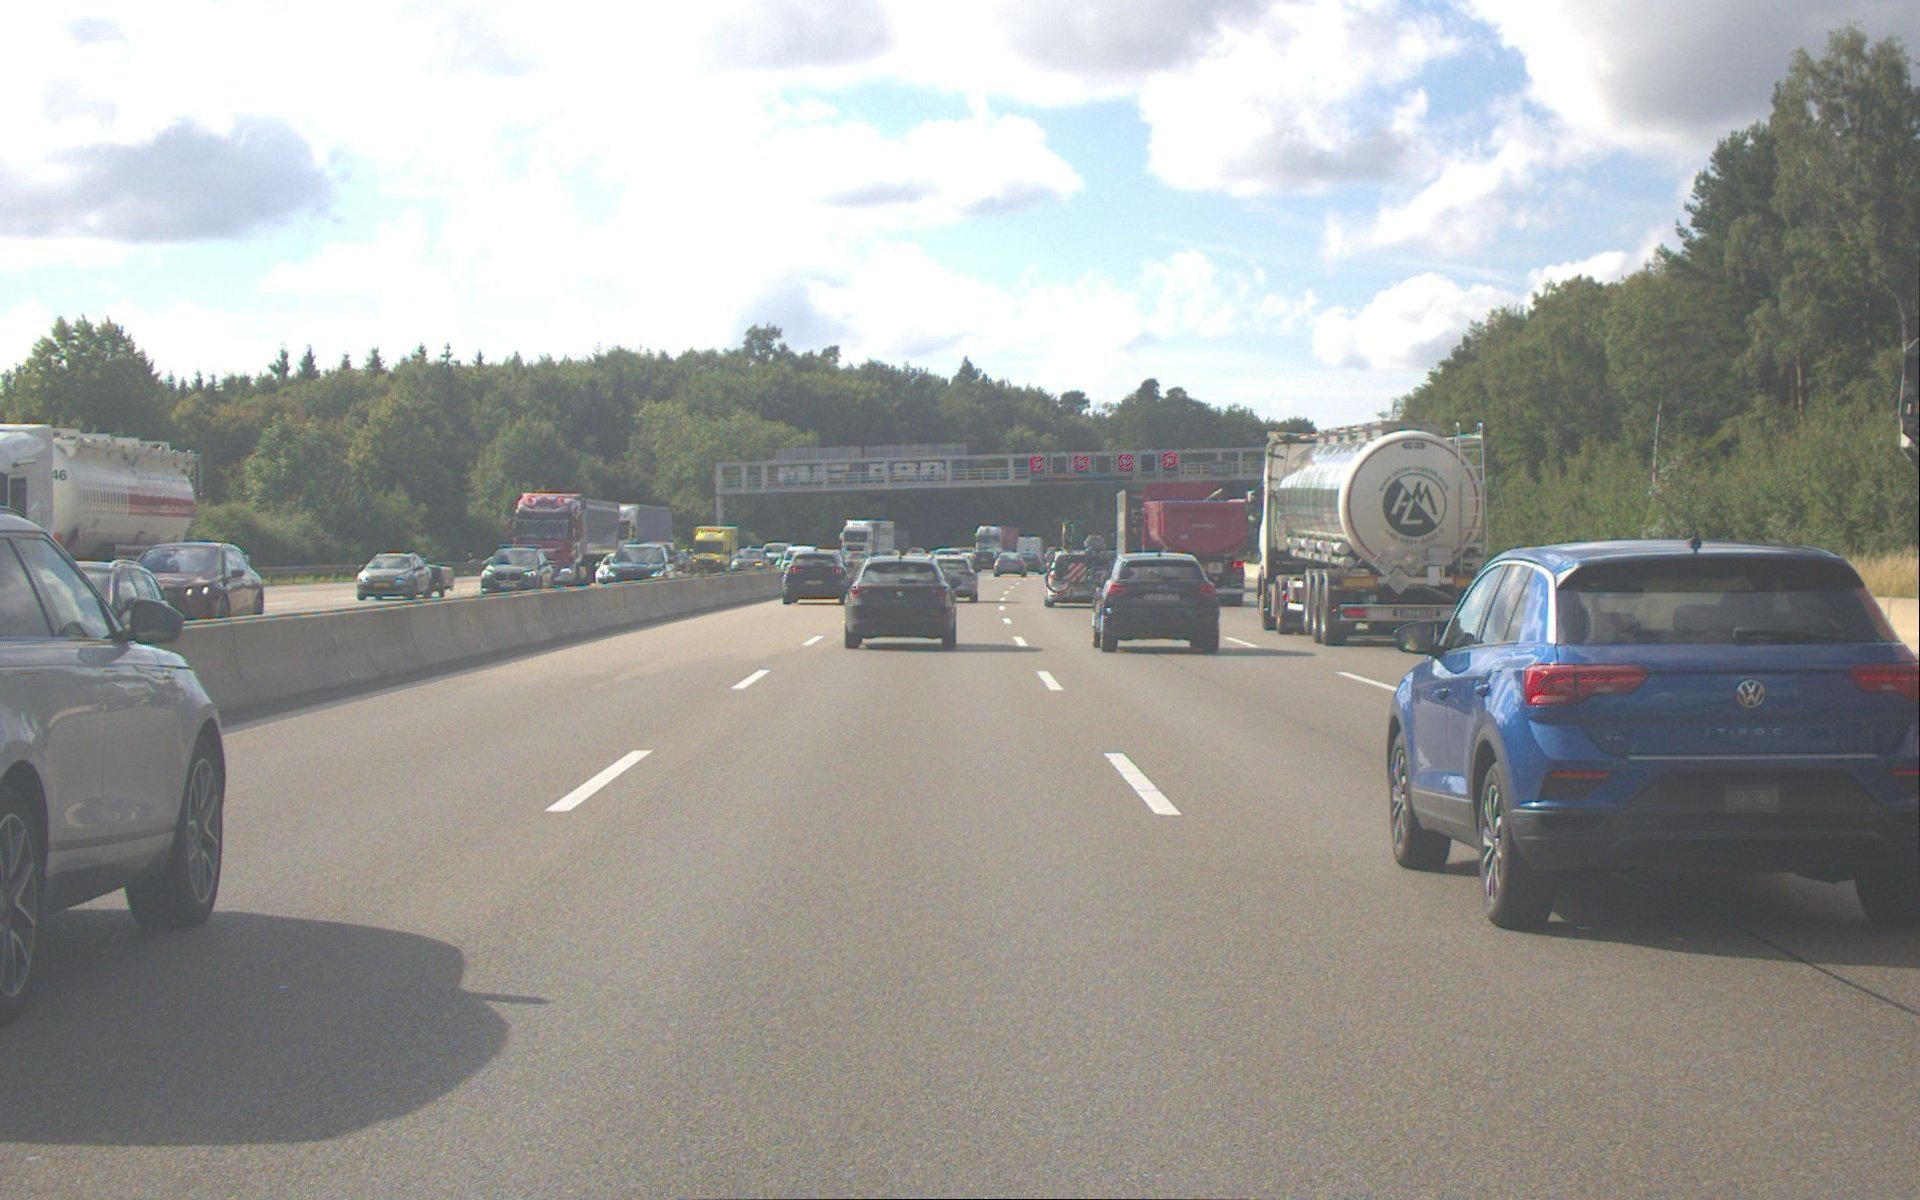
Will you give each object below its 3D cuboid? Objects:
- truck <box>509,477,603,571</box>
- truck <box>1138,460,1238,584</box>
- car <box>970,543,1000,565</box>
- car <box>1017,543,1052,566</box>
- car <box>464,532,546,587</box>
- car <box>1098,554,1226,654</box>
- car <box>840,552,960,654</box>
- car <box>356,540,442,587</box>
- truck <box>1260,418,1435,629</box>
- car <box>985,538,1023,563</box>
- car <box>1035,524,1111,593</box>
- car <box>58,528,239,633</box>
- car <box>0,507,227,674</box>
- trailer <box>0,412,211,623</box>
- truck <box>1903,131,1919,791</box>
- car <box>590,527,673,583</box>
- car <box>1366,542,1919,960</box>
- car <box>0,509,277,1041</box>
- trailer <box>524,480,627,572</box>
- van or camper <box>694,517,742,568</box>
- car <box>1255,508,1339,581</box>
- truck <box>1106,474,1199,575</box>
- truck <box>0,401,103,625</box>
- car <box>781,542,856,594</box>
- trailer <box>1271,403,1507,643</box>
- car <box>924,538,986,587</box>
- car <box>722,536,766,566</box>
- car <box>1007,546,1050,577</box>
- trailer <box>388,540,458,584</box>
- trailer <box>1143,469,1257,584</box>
[{"bbox_3d":[-16.765,-3.145,143.056,2.967,3.845,6.765,0,1,1],"label":"truck"},{"bbox_3d":[7.047,-2.441,106.944,2.710,3.706,5.818,1,2,0],"label":"truck"},{"bbox_3d":[1.784,-3.265,243.526,1.929,1.452,4.392,-1,1,2],"label":"car"},{"bbox_3d":[4.932,-3.022,228.330,2.077,1.452,4.000,-1,1,-1],"label":"car"},{"bbox_3d":[-14.256,-1.289,107.979,1.994,1.658,4.687,-1,1,-1],"label":"car"},{"bbox_3d":[3.085,0.026,53.123,1.822,1.452,4.000,-1,1,2],"label":"car"},{"bbox_3d":[-0.915,0.018,53.985,1.822,1.541,4.000,0,1,0],"label":"car"},{"bbox_3d":[-17.515,-1.164,107.564,1.827,1.409,4.675,-1,1,1],"label":"car"},{"bbox_3d":[7.302,-1.446,65.495,2.649,3.810,6.082,0,1,0],"label":"truck"},{"bbox_3d":[2.617,-2.976,205.813,2.077,1.452,4.000,-1,1,-1],"label":"car"},{"bbox_3d":[3.120,-1.159,95.450,1.893,1.850,4.101,1,1,-1],"label":"car"},{"bbox_3d":[-13.661,-0.364,58.168,1.855,1.664,5.211,-1,1,0],"label":"car"},{"bbox_3d":[-10.394,-0.148,41.241,2.171,1.872,4.981,-1,1,-1],"label":"car"},{"bbox_3d":[-18.058,-1.645,70.166,2.788,3.932,12.253,0,1,0],"label":"trailer"},{"bbox_3d":[7.285,-0.803,18.438,2.774,4.031,5.774,0,1,-1],"label":"truck"},{"bbox_3d":[-10.260,-1.432,107.666,2.154,1.694,5.351,-1,1,-1],"label":"car"},{"bbox_3d":[2.919,0.522,14.943,1.773,1.525,4.458,-1,1,0],"label":"car"},{"bbox_3d":[-3.922,0.486,12.176,2.006,1.611,5.301,1,1,-1],"label":"car"},{"bbox_3d":[-16.584,-3.189,149.017,2.967,3.845,11.281,0,1,1],"label":"trailer"},{"bbox_3d":[-14.215,-3.400,202.476,2.374,2.882,6.507,-1,1,-1],"label":"van or camper"},{"bbox_3d":[9.351,-1.547,95.576,1.893,1.950,4.100,1,1,0],"label":"car"},{"bbox_3d":[7.792,-3.061,140.332,3.118,3.921,10.412,-1,1,0],"label":"truck"},{"bbox_3d":[-18.110,-1.592,63.762,2.788,3.932,6.446,0,1,0],"label":"truck"},{"bbox_3d":[-4.110,-0.957,100.315,1.942,1.452,4.000,-1,1,1],"label":"car"},{"bbox_3d":[7.282,-1.318,59.993,2.649,3.754,11.860,0,1,0],"label":"trailer"},{"bbox_3d":[-0.141,-1.163,105.549,1.822,1.452,4.000,-1,1,1],"label":"car"},{"bbox_3d":[-11.969,-2.718,190.695,1.844,1.590,4.913,-1,1,3],"label":"car"},{"bbox_3d":[3.387,-1.926,170.913,1.942,1.452,4.000,-1,1,-1],"label":"car"},{"bbox_3d":[-17.458,-1.244,111.988,1.534,1.397,4.180,0,1,1],"label":"trailer"},{"bbox_3d":[7.043,-2.203,102.052,2.710,3.220,9.733,1,2,0],"label":"trailer"}]
